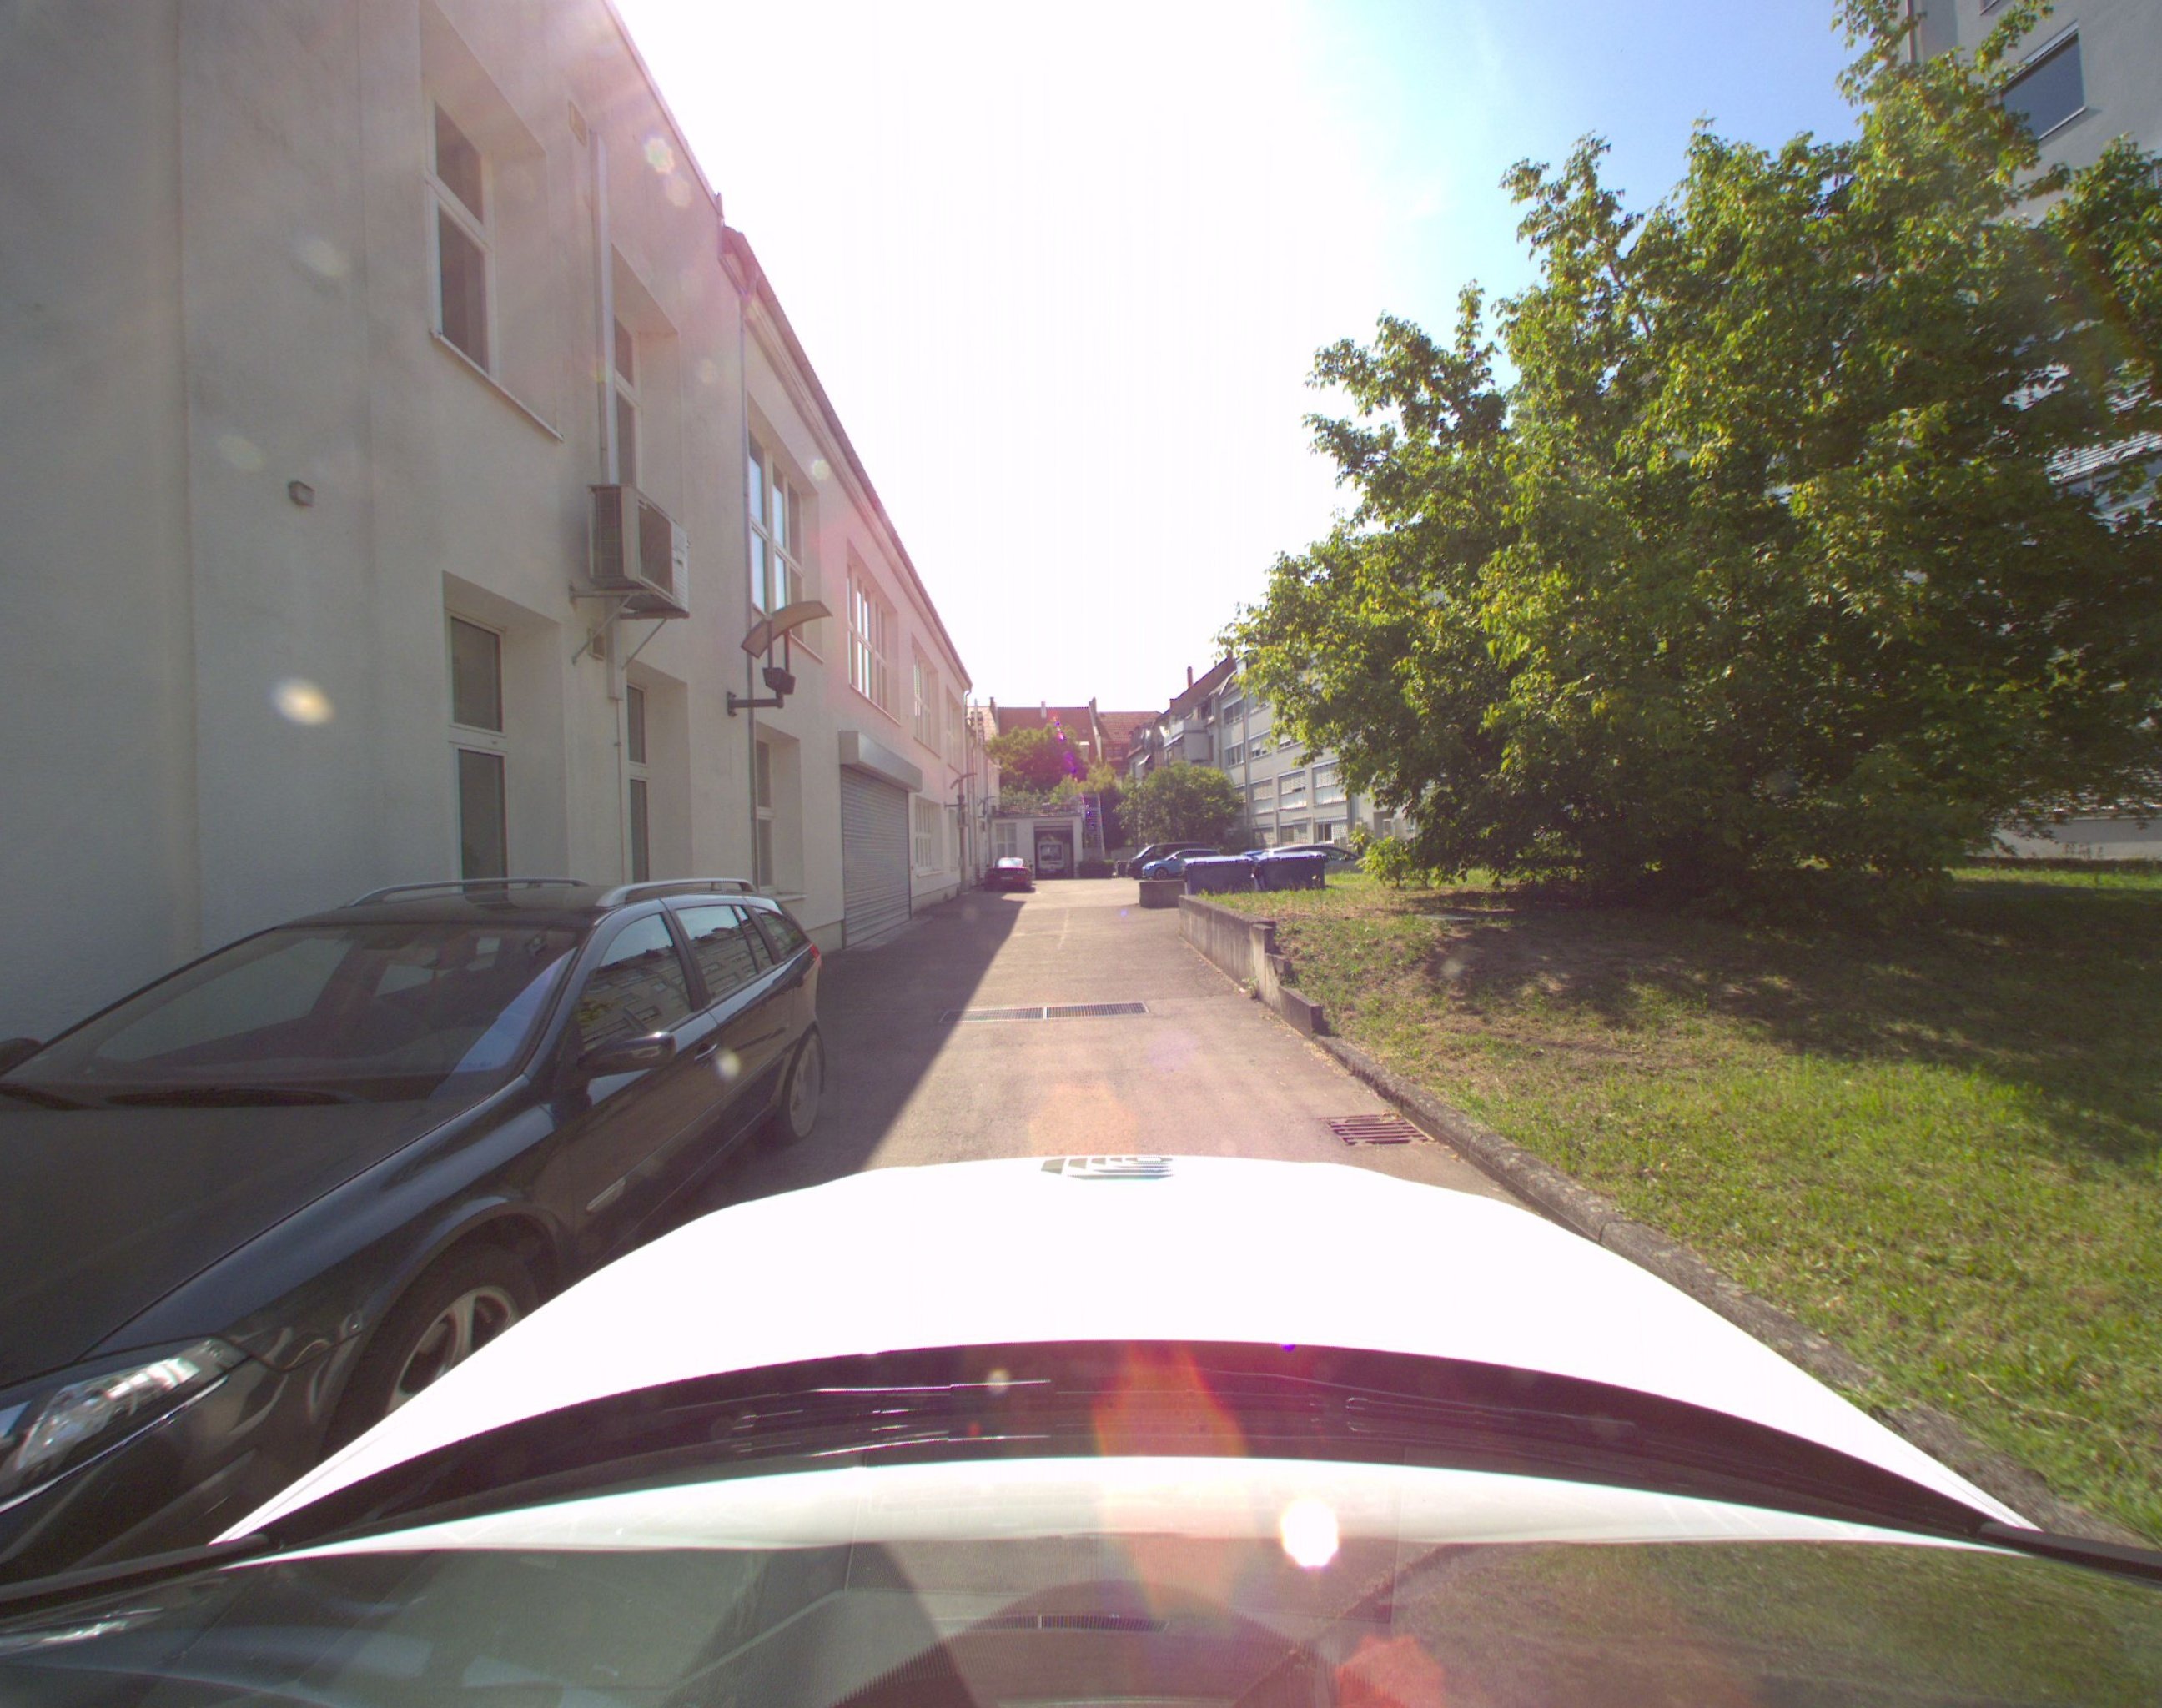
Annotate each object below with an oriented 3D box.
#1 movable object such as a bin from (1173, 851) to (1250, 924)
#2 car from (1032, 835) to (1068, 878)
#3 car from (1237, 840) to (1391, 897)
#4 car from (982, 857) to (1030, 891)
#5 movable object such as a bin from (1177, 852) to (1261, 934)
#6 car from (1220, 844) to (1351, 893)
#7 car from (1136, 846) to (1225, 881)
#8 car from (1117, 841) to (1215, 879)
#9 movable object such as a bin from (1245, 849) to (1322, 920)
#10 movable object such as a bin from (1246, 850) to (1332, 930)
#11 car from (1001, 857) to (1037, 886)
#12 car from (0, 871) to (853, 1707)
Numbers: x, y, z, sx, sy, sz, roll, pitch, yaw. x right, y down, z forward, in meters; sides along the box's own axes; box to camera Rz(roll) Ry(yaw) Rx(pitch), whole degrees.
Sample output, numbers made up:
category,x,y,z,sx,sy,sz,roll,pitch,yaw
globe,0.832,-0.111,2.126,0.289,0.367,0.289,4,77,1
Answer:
category,x,y,z,sx,sy,sz,roll,pitch,yaw
movable object such as a bin,2.612,0.656,16.452,1.245,1.355,1.127,-3,0,-5
car,-2.027,0.158,54.654,2.168,2.607,6.730,-3,0,-1
car,6.838,0.402,24.151,3.980,1.427,1.809,-3,0,-5
car,-3.132,0.824,34.779,1.847,1.319,3.996,-1,0,-3
movable object such as a bin,2.458,0.686,14.676,1.243,1.319,1.142,-4,-1,0
car,6.865,0.471,27.609,3.977,1.394,1.687,-3,0,-3
car,5.112,0.479,42.122,4.223,1.532,1.996,-3,1,-6
car,4.726,0.315,45.359,4.960,1.767,2.086,-3,1,-15
movable object such as a bin,4.079,0.597,16.511,1.153,1.336,1.140,-3,0,-5
movable object such as a bin,3.730,0.630,14.722,1.243,1.340,1.142,-3,0,1
car,-3.147,0.857,41.797,1.610,1.295,3.756,-3,0,-1
car,-2.374,0.797,3.203,1.832,1.442,4.425,0,-2,-2
